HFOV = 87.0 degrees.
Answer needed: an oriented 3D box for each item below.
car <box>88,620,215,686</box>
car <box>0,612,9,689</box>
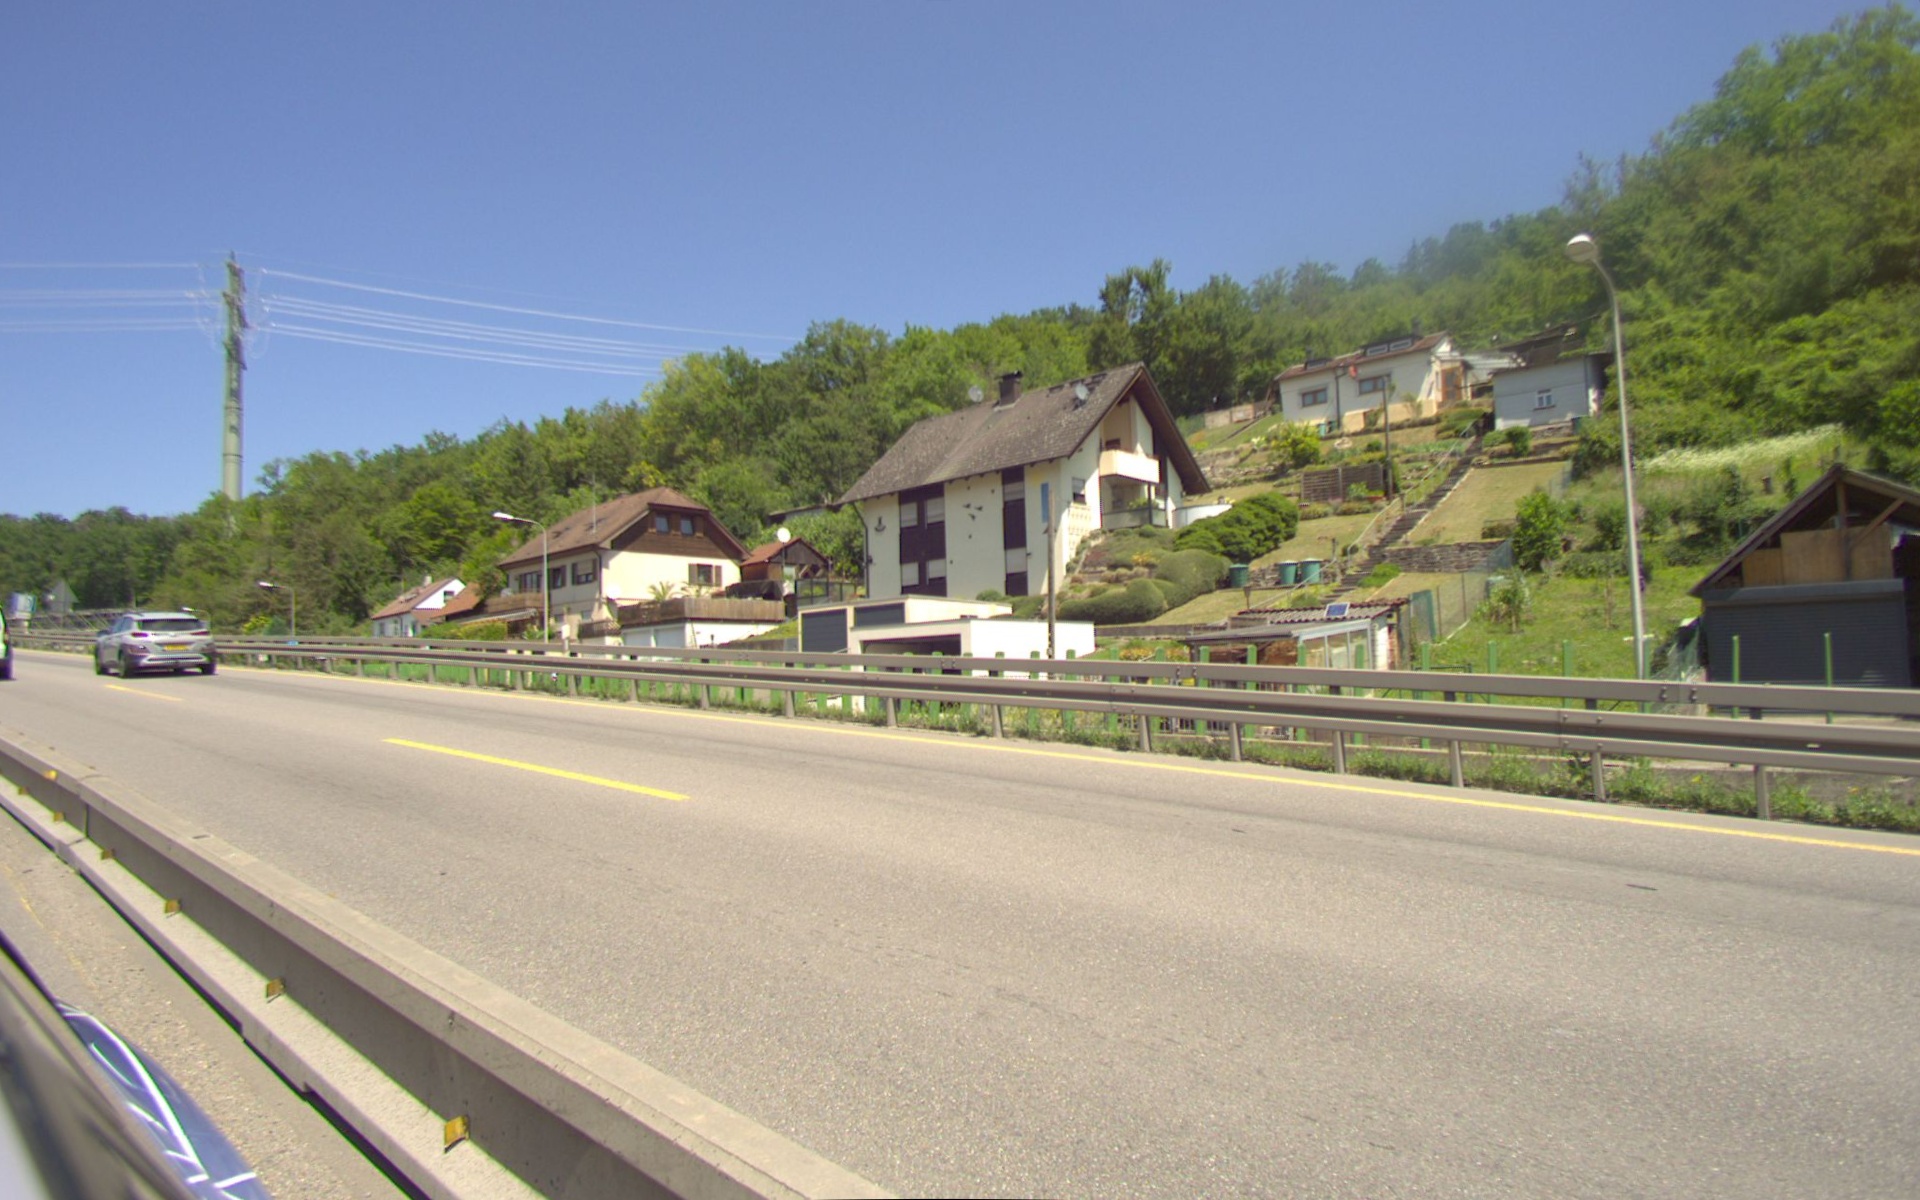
[{"bbox_3d":[-19.916,1.247,24.876,3.970,1.490,1.685,-1,-1,40],"label":"car"},{"bbox_3d":[-23.958,1.183,23.826,4.253,1.754,1.791,-1,-1,40],"label":"car"}]
